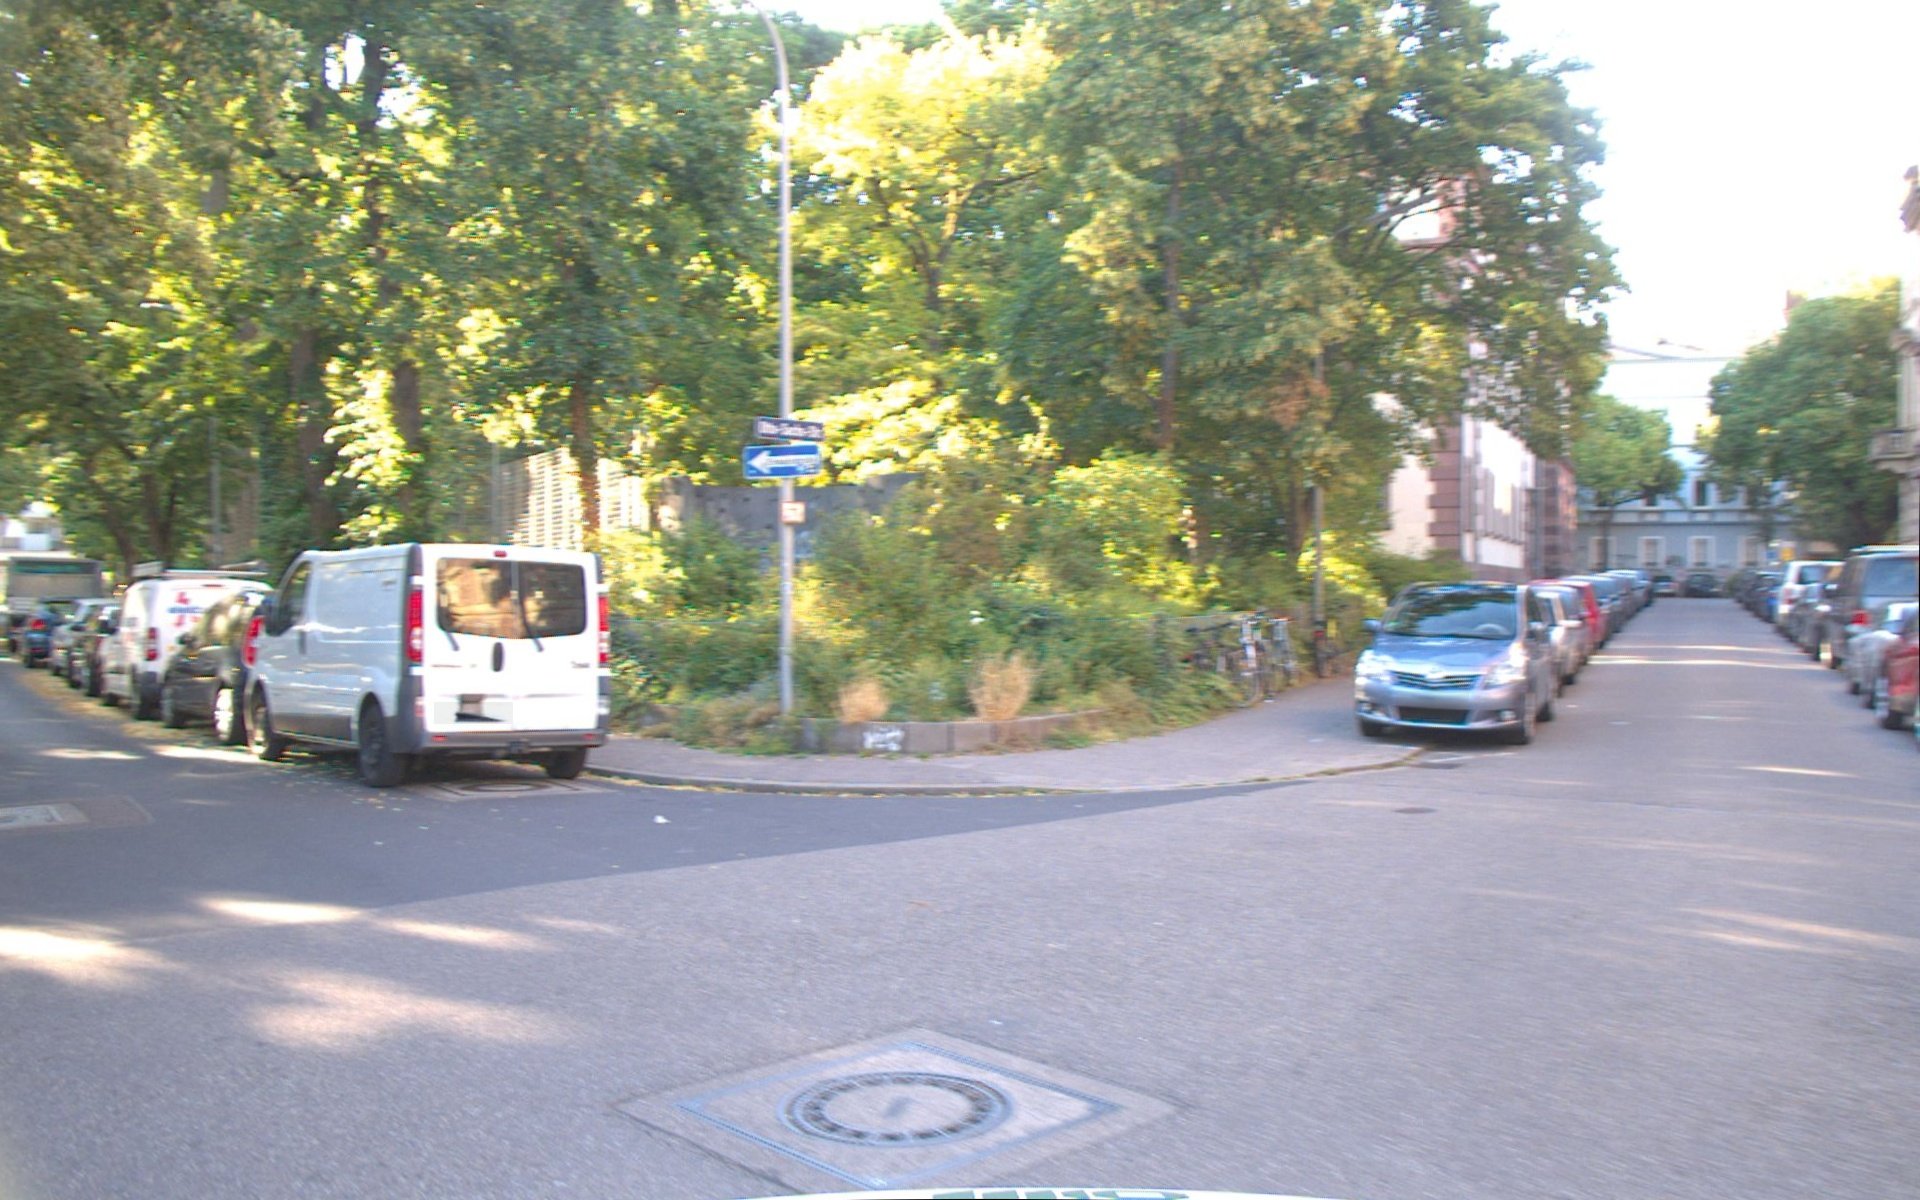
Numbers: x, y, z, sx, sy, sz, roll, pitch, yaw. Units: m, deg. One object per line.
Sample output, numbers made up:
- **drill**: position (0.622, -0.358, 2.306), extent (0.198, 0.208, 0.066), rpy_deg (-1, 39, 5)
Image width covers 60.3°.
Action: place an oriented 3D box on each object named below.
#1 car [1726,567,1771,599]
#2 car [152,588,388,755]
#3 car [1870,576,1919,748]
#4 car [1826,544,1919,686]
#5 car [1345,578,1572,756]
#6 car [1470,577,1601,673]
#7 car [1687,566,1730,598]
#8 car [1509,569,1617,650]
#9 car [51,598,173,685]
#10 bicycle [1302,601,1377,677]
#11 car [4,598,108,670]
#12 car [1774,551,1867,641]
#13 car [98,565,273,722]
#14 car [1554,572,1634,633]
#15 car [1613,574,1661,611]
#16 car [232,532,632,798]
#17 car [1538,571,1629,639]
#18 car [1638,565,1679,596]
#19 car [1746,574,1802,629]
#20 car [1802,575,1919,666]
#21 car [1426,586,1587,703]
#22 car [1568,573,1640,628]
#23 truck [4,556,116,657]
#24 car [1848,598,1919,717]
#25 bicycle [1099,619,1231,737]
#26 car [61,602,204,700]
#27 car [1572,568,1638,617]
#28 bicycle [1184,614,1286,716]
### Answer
- **car**: position (47.131, -1.010, 98.919), extent (1.952, 1.713, 4.001), rpy_deg (2, -1, 19)
- **car**: position (-7.821, 0.703, 18.577), extent (1.560, 1.666, 3.661), rpy_deg (0, 1, -38)
- **car**: position (10.532, 0.623, 16.737), extent (1.761, 1.642, 3.955), rpy_deg (3, 2, 22)
- **car**: position (15.211, 0.219, 26.766), extent (1.762, 2.108, 3.953), rpy_deg (3, 2, 24)
- **car**: position (5.685, 0.632, 18.503), extent (1.790, 1.642, 4.289), rpy_deg (4, 2, 25)
- **car**: position (10.389, 0.390, 29.708), extent (1.790, 1.503, 3.929), rpy_deg (4, 2, 25)
- **car**: position (45.031, -1.075, 99.552), extent (1.952, 1.713, 4.001), rpy_deg (2, -1, 19)
- **car**: position (13.007, 0.170, 35.546), extent (1.790, 1.526, 3.929), rpy_deg (4, 2, 25)
- **car**: position (-15.777, 0.717, 30.685), extent (1.558, 1.493, 3.556), rpy_deg (0, 1, -35)
- **bicycle**: position (6.025, 0.581, 26.167), extent (0.585, 1.120, 2.625), rpy_deg (0, 0, 26)
- **car**: position (-19.190, 0.689, 35.054), extent (1.558, 1.409, 3.556), rpy_deg (0, 1, -35)
- **car**: position (21.942, -0.138, 42.288), extent (1.762, 2.108, 3.953), rpy_deg (3, 2, 24)
- **car**: position (-10.586, 0.517, 22.478), extent (1.558, 1.937, 3.854), rpy_deg (0, 1, -35)
- **car**: position (17.786, 0.046, 46.323), extent (1.790, 1.526, 3.929), rpy_deg (4, 2, 25)
- **car**: position (30.510, -0.357, 74.505), extent (1.790, 1.526, 3.929), rpy_deg (4, 2, 25)
- **car**: position (-4.947, 0.476, 15.064), extent (1.932, 2.038, 4.593), rpy_deg (0, 1, -39)
- **car**: position (15.686, 0.096, 41.517), extent (1.790, 1.526, 3.929), rpy_deg (4, 2, 25)
- **car**: position (42.228, -1.164, 100.114), extent (1.952, 1.713, 4.001), rpy_deg (2, -1, 19)
- **car**: position (32.548, 0.024, 66.181), extent (1.762, 2.052, 3.953), rpy_deg (3, 2, 24)
- **car**: position (17.342, 0.351, 31.804), extent (1.762, 1.550, 3.953), rpy_deg (3, 2, 24)
- **car**: position (8.197, 0.583, 24.589), extent (1.790, 1.472, 3.929), rpy_deg (4, 2, 25)
- **car**: position (19.833, -0.001, 50.858), extent (1.790, 1.526, 3.929), rpy_deg (4, 2, 25)
- **truck**: position (-22.869, 0.129, 41.932), extent (2.342, 2.393, 4.338), rpy_deg (0, 1, -31)
- **car**: position (12.671, 0.720, 21.366), extent (1.762, 1.368, 3.953), rpy_deg (3, 2, 24)
- **bicycle**: position (2.241, 0.789, 17.748), extent (0.585, 1.120, 2.625), rpy_deg (0, 0, 26)
- **car**: position (-13.331, 0.765, 26.559), extent (1.558, 1.410, 3.556), rpy_deg (0, 1, -35)
- **car**: position (21.894, -0.272, 56.031), extent (1.790, 1.526, 3.929), rpy_deg (4, 2, 25)
- **bicycle**: position (3.393, 0.749, 20.209), extent (0.585, 1.120, 2.626), rpy_deg (0, 0, 24)
